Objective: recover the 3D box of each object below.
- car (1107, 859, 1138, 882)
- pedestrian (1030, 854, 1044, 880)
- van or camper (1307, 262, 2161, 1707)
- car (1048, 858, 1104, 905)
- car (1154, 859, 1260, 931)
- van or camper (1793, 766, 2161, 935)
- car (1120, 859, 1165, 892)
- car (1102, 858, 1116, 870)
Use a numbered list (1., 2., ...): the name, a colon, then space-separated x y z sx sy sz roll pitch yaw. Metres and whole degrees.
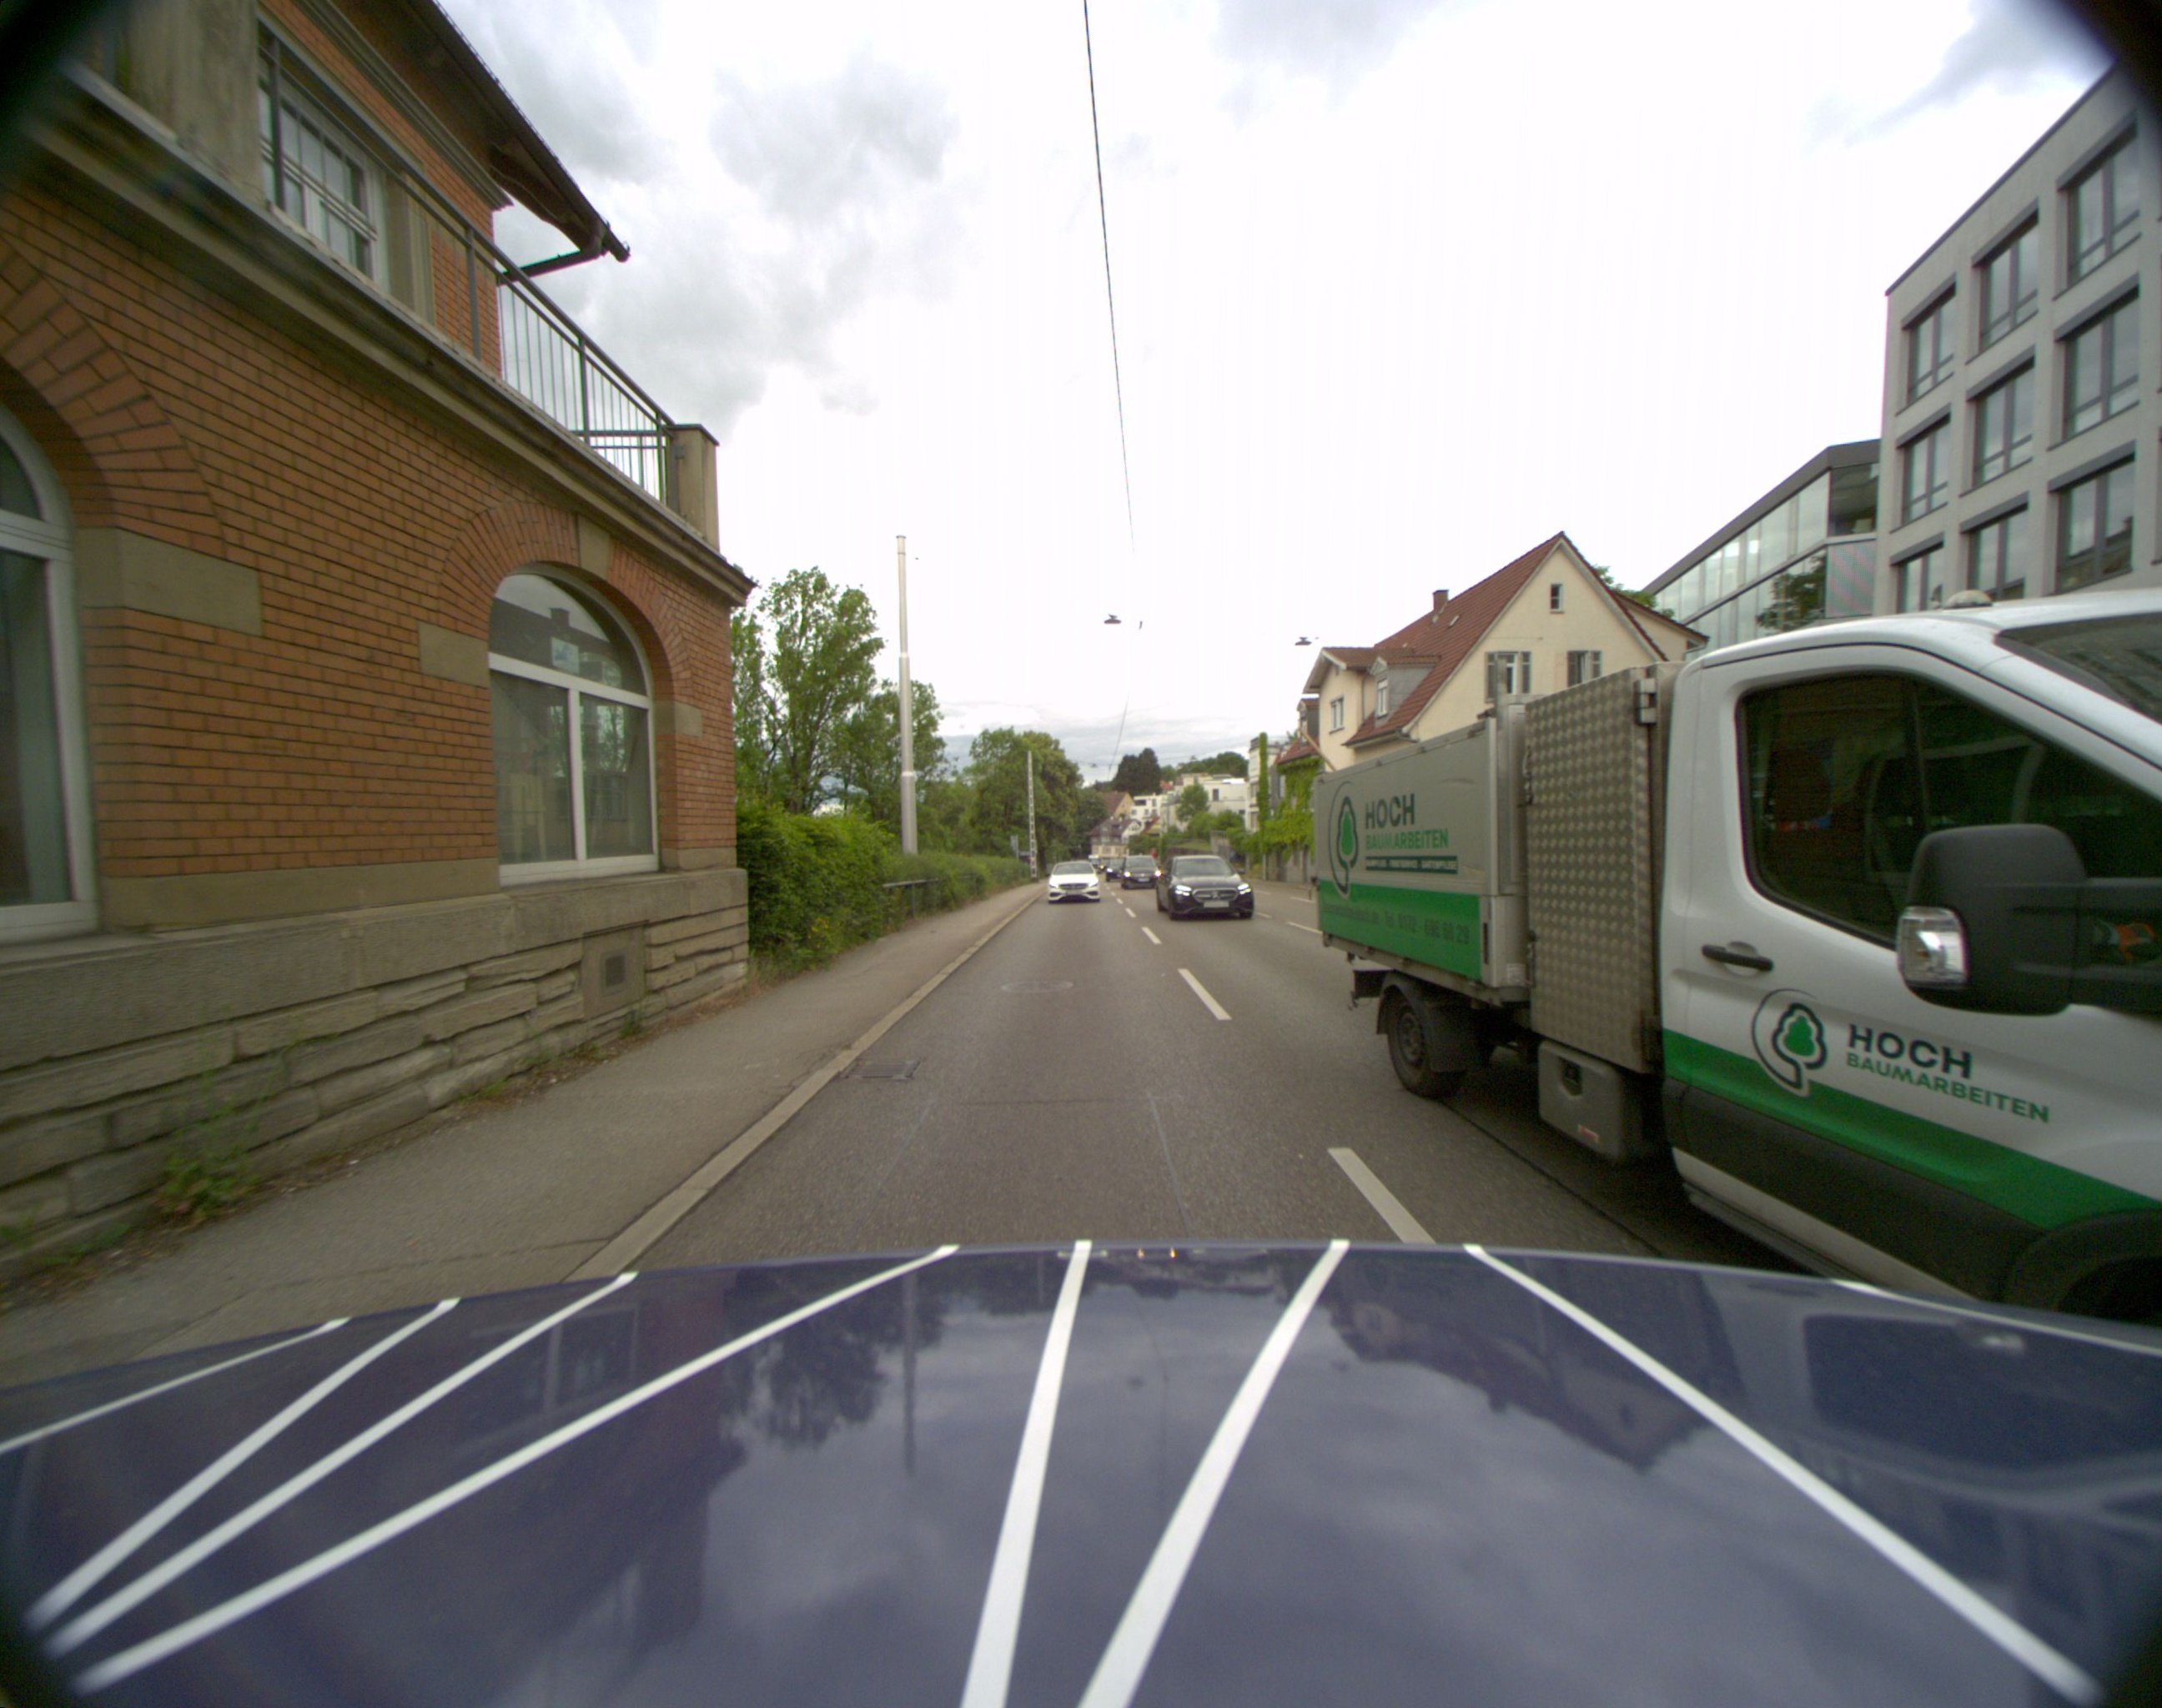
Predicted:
1. car: 2.818 1.107 52.479 1.878 1.521 4.000 -2 0 1
2. pedestrian: -3.087 0.913 53.352 0.814 1.873 0.949 0 0 5
3. van or camper: 2.964 0.268 2.820 2.349 2.647 5.962 -3 2 0
4. car: -0.155 0.934 27.277 1.809 1.521 4.000 -1 0 1
5. car: 2.942 0.903 18.649 1.878 1.521 4.335 -2 0 1
6. van or camper: 13.639 -0.024 11.022 2.065 1.956 4.873 1 0 1
7. car: 2.980 1.017 37.515 1.878 1.521 4.000 -2 0 1
8. car: 3.489 1.227 95.247 1.680 1.426 3.713 -1 0 1
